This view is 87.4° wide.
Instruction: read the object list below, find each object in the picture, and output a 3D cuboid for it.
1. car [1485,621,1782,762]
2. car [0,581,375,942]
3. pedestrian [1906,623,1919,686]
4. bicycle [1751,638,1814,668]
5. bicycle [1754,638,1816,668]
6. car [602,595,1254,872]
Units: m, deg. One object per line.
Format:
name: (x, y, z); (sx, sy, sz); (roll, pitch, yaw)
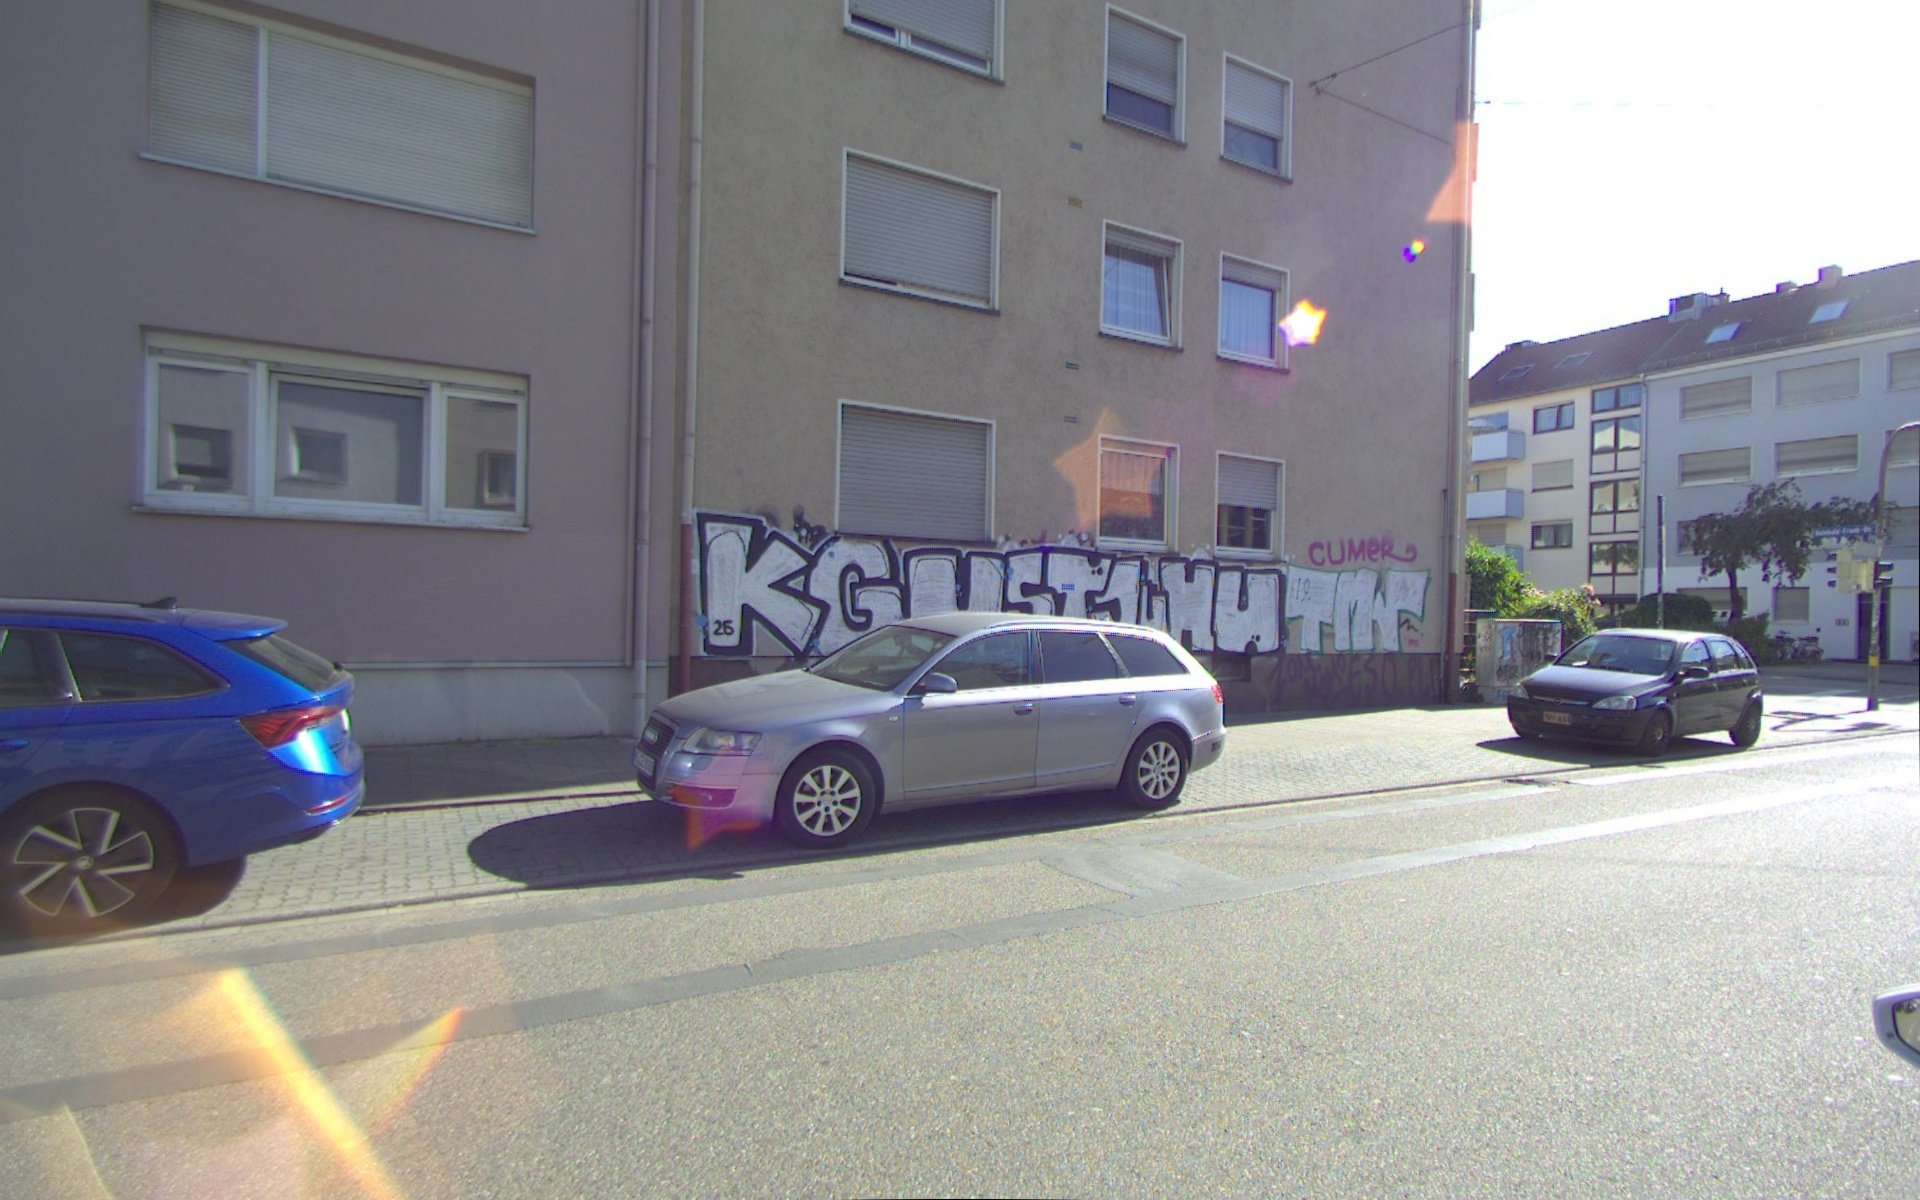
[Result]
car: (8.654, 1.068, 12.849); (3.813, 1.468, 1.682); (1, 2, -32)
car: (-5.459, 0.680, 4.627); (4.747, 1.523, 1.813); (1, 2, -32)
pedestrian: (26.180, 1.474, 27.082); (0.952, 1.705, 0.573); (1, 0, -15)
bicycle: (27.973, 1.799, 34.185); (0.506, 0.952, 1.583); (1, -1, -27)
bicycle: (28.418, 1.824, 34.629); (0.506, 0.952, 1.583); (1, -1, -27)
car: (-0.101, 0.804, 7.756); (4.747, 1.523, 1.813); (1, 2, -32)
